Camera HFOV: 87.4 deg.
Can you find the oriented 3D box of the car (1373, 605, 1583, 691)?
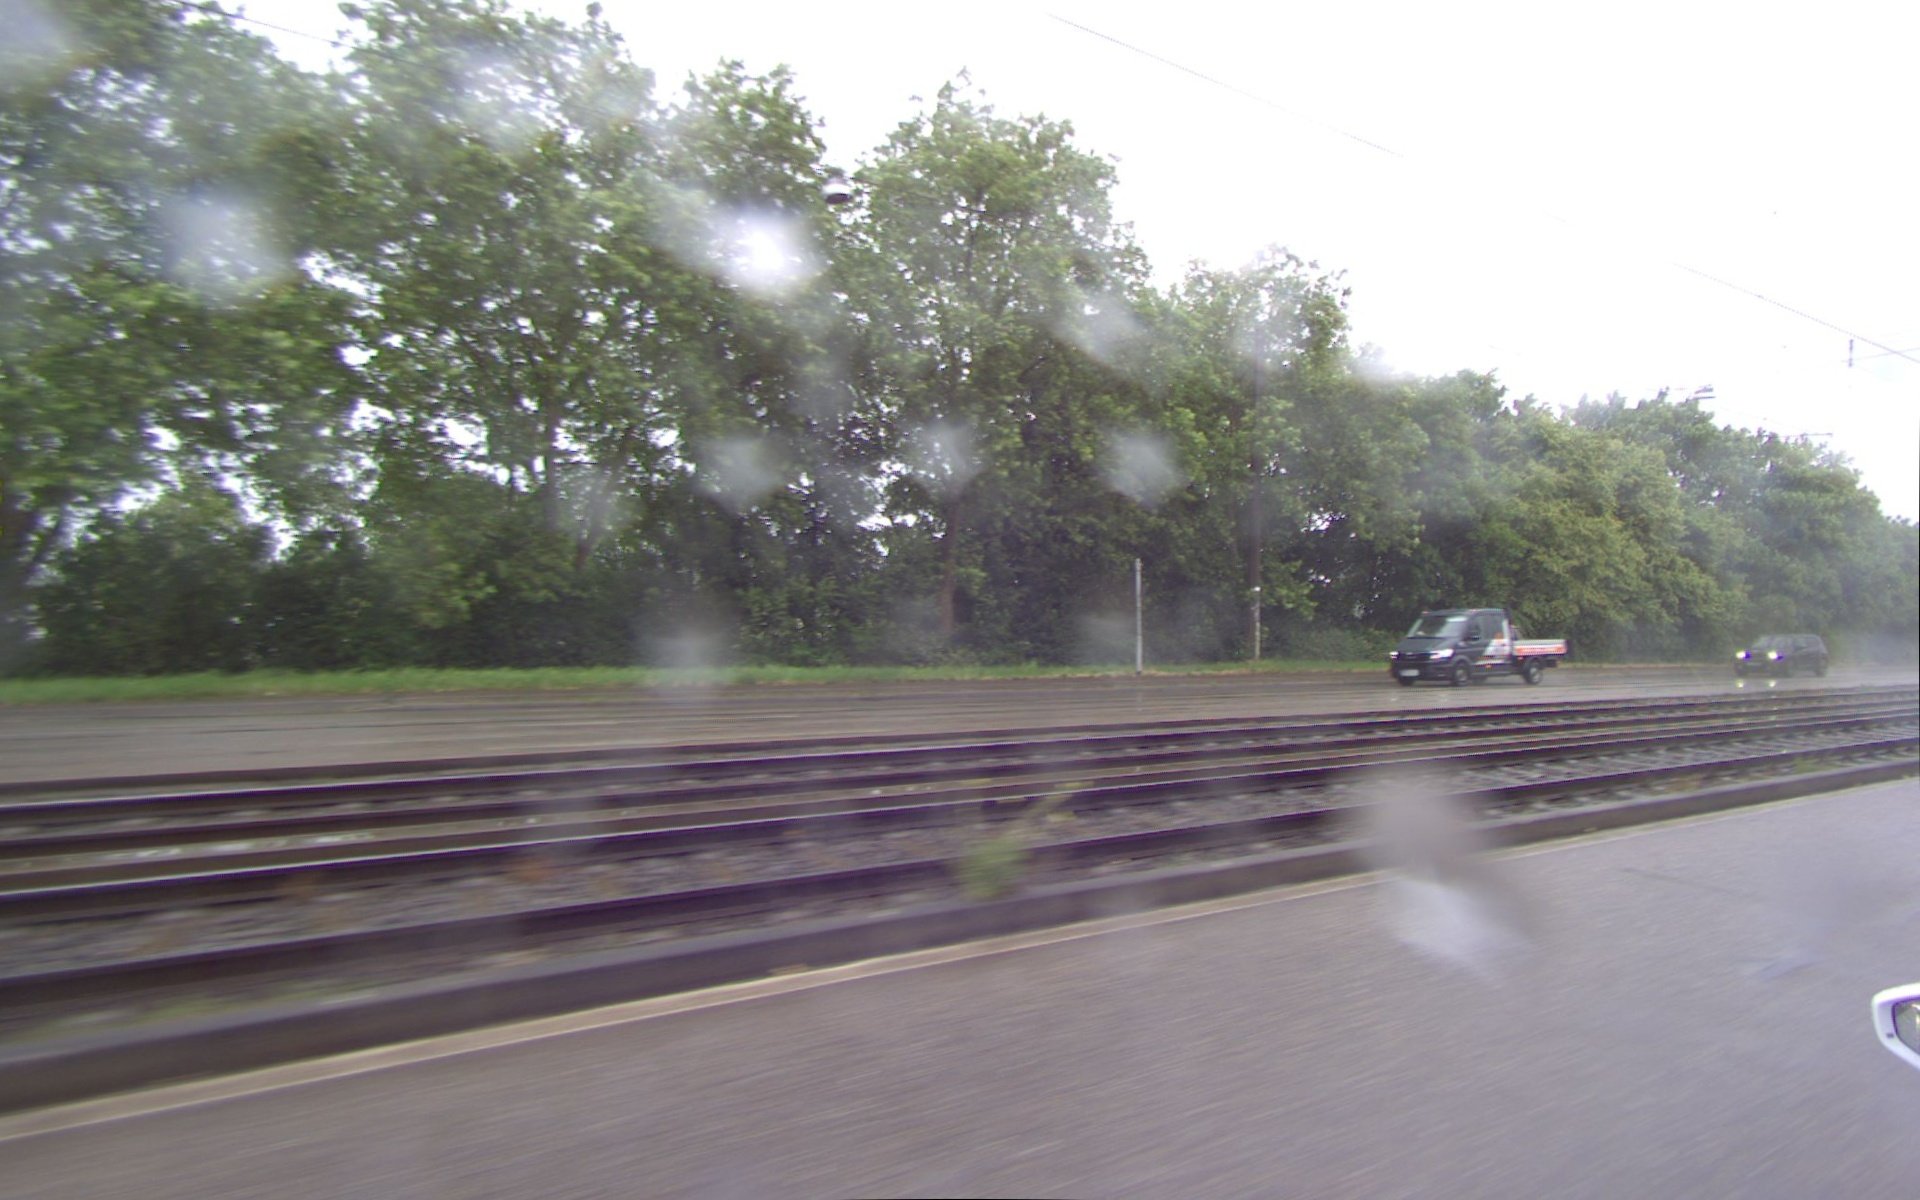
[{"bbox_3d":[15.766,1.357,30.438,6.900,2.374,2.091,0,0,-28],"label":"car"}]

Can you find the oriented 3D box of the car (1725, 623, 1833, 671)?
[{"bbox_3d":[32.159,1.794,39.434,4.109,1.740,1.834,0,0,-28],"label":"car"}]
